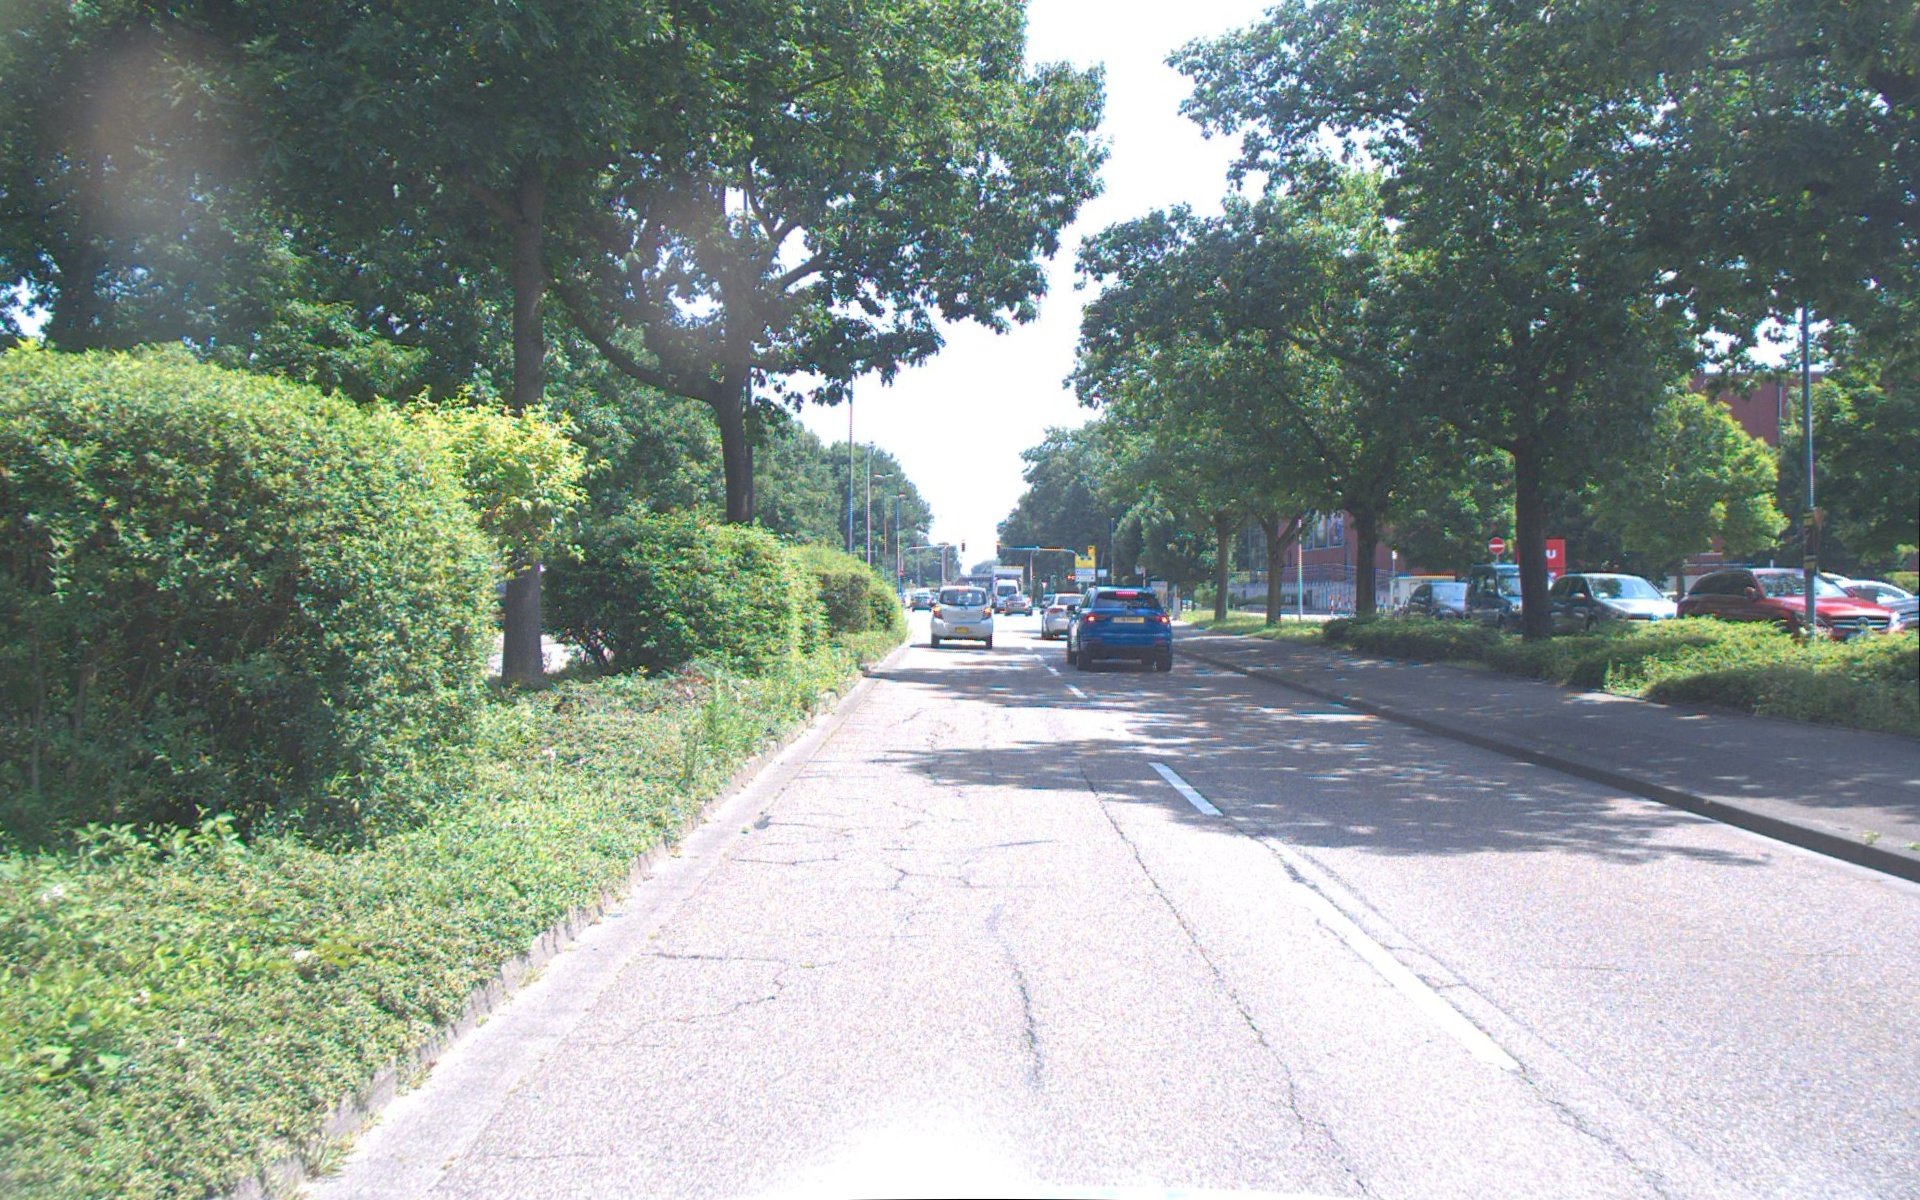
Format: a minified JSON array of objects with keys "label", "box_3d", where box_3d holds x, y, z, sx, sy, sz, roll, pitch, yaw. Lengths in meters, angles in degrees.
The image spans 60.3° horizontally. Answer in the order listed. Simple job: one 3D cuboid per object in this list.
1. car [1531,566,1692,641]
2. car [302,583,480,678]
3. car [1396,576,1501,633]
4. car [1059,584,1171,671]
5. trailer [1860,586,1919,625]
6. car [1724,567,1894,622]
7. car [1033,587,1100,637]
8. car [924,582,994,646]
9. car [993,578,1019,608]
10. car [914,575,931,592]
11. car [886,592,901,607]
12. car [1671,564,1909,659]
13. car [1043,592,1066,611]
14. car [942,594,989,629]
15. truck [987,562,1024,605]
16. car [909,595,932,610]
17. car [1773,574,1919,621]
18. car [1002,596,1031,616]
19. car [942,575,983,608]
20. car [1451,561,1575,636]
[{"label":"car","box_3d":[12.976,0.055,33.196,1.666,1.404,3.905,0,0,-1]},{"label":"car","box_3d":[-10.897,0.531,32.019,1.783,1.664,4.520,-1,0,1]},{"label":"car","box_3d":[13.011,0.129,44.293,1.665,1.449,4.655,0,0,3]},{"label":"car","box_3d":[3.021,0.524,32.952,1.772,1.620,4.348,0,0,-1]},{"label":"trailer","box_3d":[23.698,0.154,40.436,2.657,0.927,1.381,1,0,0]},{"label":"car","box_3d":[24.472,-0.165,47.752,3.906,1.467,1.942,-1,0,-2]},{"label":"car","box_3d":[3.314,0.372,51.937,1.827,1.499,3.999,0,0,0]},{"label":"car","box_3d":[-0.052,0.362,42.718,1.606,1.579,3.322,0,0,-4]},{"label":"car","box_3d":[3.670,-0.564,132.213,1.953,2.295,4.000,-1,0,0]},{"label":"car","box_3d":[-4.543,-1.989,200.083,1.954,2.049,3.998,-1,0,-3]},{"label":"car","box_3d":[-6.174,-0.044,153.623,1.340,1.331,2.692,-1,0,-3]},{"label":"car","box_3d":[13.311,0.155,26.825,1.666,1.404,4.323,0,0,-1]},{"label":"car","box_3d":[7.698,0.125,134.646,1.599,1.489,4.000,-1,0,0]},{"label":"car","box_3d":[0.221,0.457,67.551,1.846,1.378,4.000,0,0,0]},{"label":"truck","box_3d":[3.858,-1.416,142.695,2.872,3.564,9.158,-1,0,0]},{"label":"car","box_3d":[-3.506,0.191,147.409,1.953,1.310,4.000,-1,0,0]},{"label":"car","box_3d":[24.680,-0.058,45.287,3.905,1.242,1.909,0,0,0]},{"label":"car","box_3d":[3.944,0.380,116.492,1.828,1.333,4.000,-1,0,-1]},{"label":"car","box_3d":[0.086,-0.390,81.292,1.759,1.550,3.997,0,0,-4]},{"label":"car","box_3d":[12.849,-0.021,38.647,1.665,1.666,3.906,0,0,2]}]
